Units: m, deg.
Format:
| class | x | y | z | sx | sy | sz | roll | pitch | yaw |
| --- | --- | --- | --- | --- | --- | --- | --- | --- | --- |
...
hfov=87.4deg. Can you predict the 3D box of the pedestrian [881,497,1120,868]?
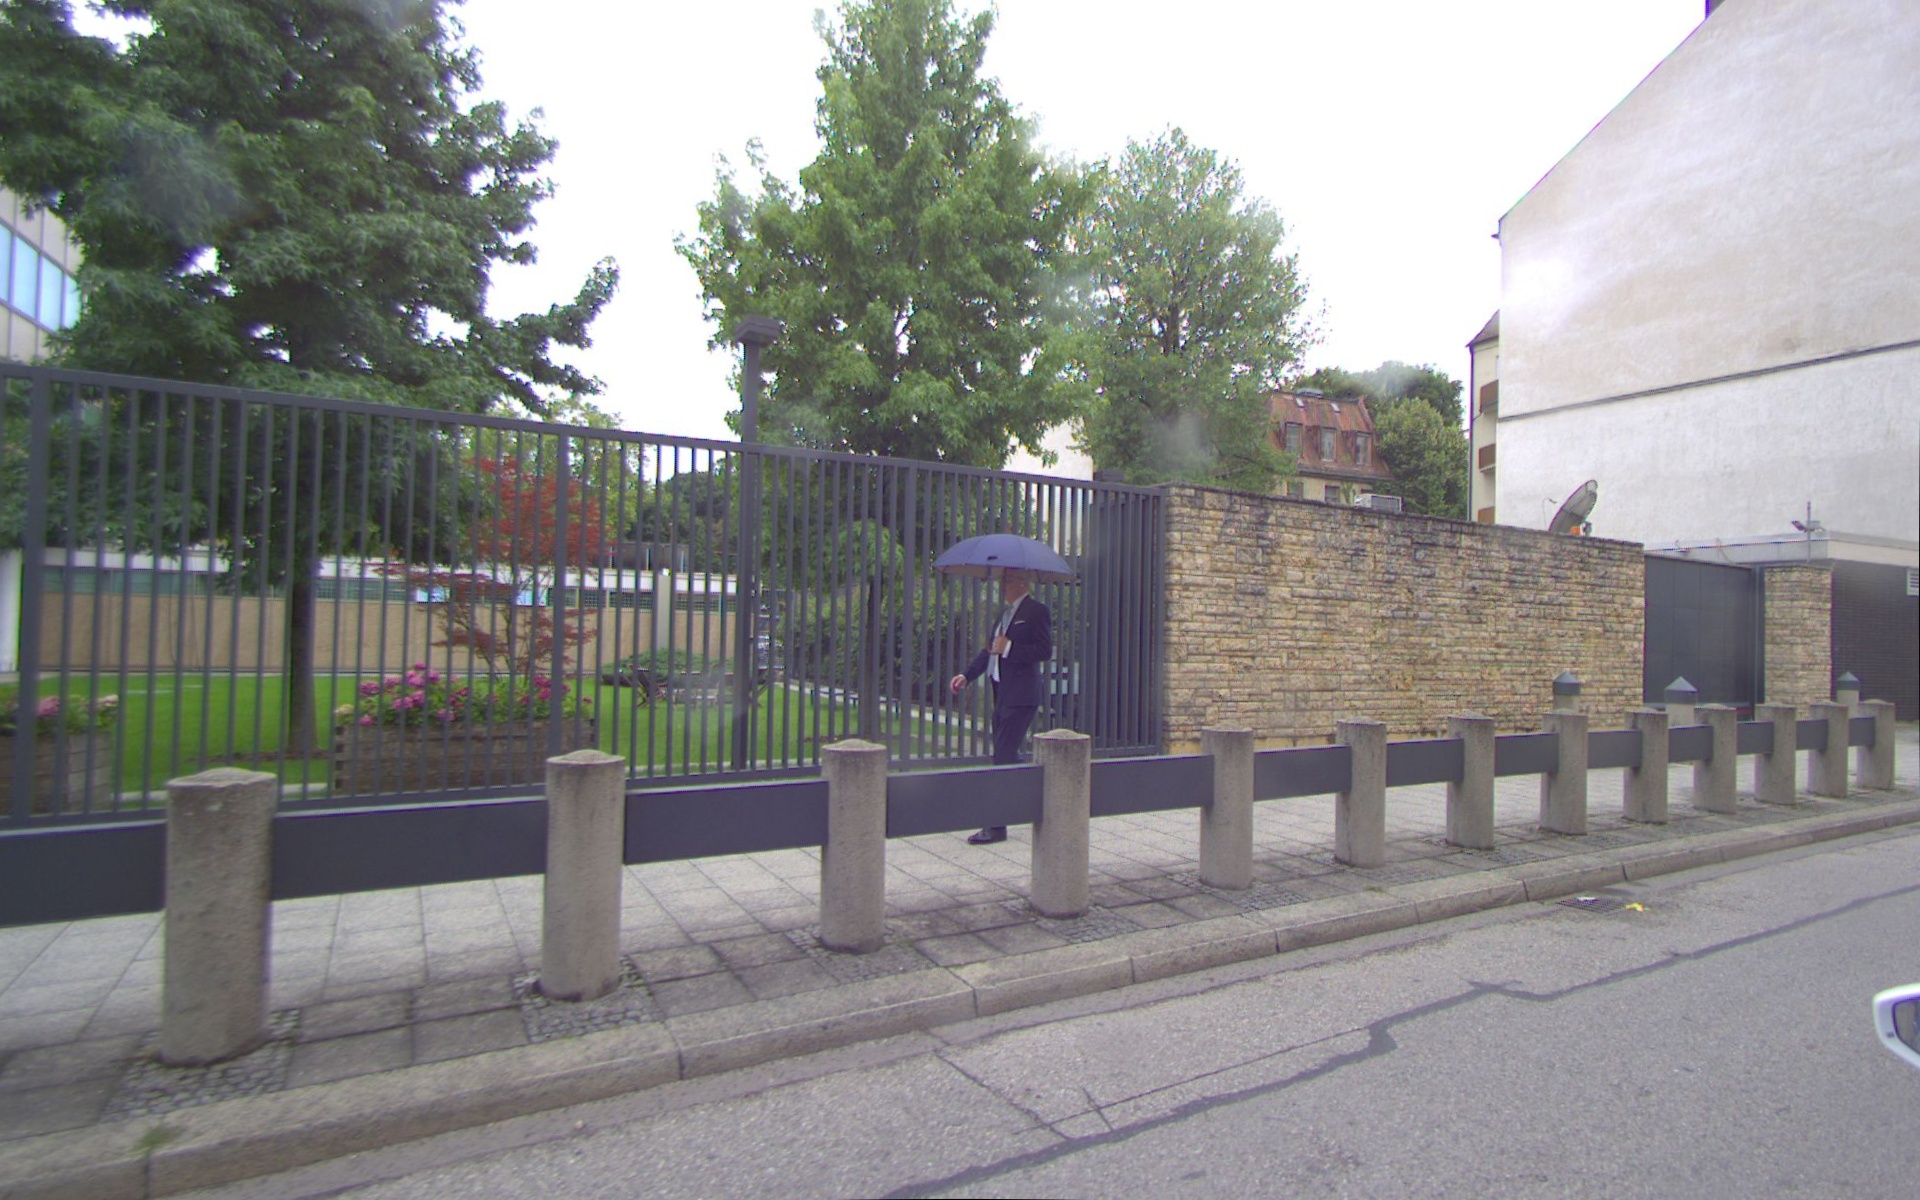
| class | x | y | z | sx | sy | sz | roll | pitch | yaw |
| --- | --- | --- | --- | --- | --- | --- | --- | --- | --- |
| pedestrian | 0.235 | 0.494 | 6.585 | 1.102 | 2.132 | 1.218 | 1 | -1 | -28 |
